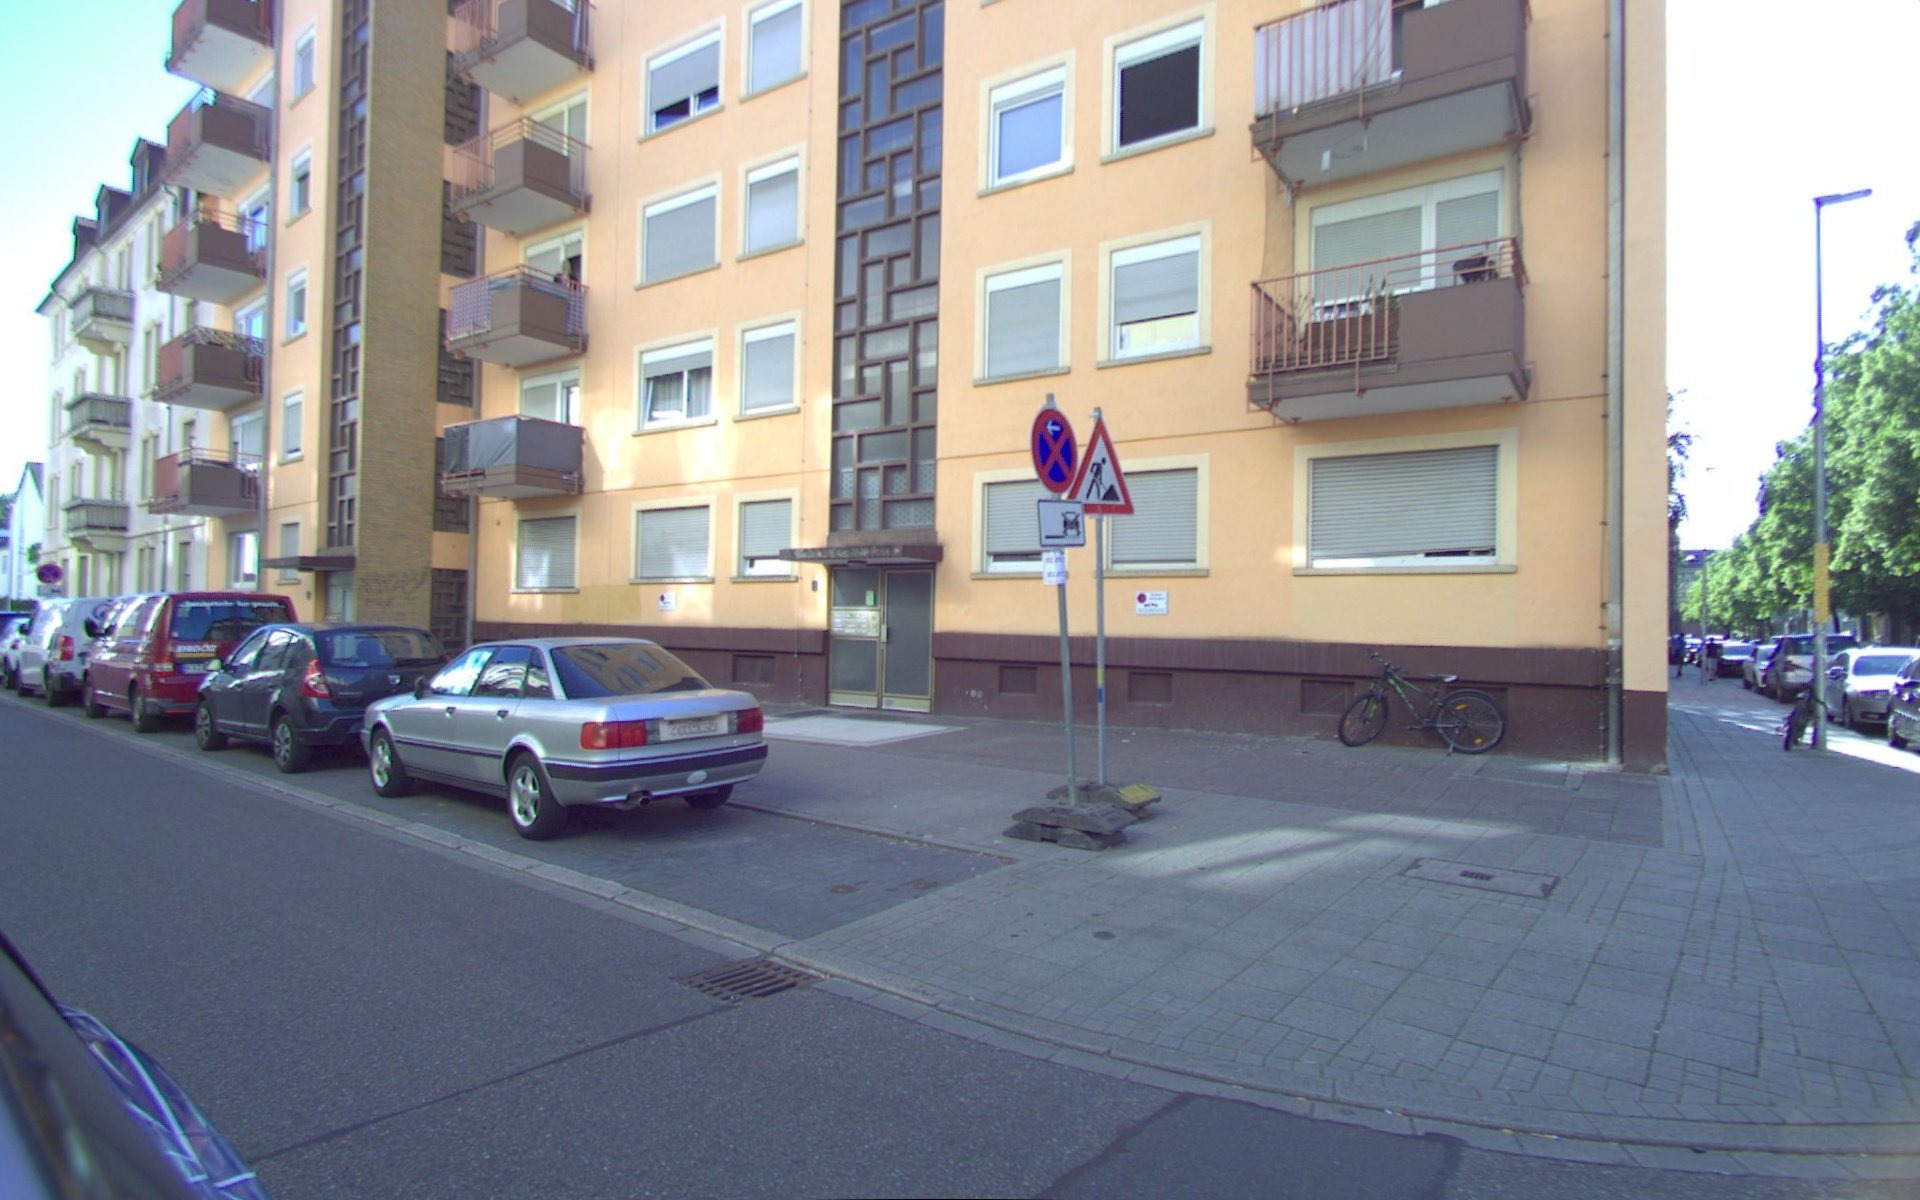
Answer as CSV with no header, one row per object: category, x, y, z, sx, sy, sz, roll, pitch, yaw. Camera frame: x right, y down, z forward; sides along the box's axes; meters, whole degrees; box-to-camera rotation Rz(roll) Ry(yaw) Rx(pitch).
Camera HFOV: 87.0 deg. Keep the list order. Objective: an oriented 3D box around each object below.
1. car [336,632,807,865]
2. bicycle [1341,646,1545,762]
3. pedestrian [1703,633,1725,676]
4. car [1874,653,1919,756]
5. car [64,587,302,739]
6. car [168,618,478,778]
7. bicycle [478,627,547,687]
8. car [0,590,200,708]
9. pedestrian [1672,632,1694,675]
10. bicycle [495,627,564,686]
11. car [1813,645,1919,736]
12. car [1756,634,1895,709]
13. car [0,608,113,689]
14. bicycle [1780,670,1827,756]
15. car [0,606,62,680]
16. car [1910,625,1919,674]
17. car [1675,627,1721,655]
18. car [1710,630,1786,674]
car,-3.429,0.998,8.465,4.475,1.388,1.745,-1,-1,40
bicycle,5.063,1.057,10.682,1.889,1.072,0.499,-1,0,36
pedestrian,29.397,2.114,39.449,0.660,1.653,0.520,-1,-2,35
car,13.506,1.389,13.114,1.722,1.320,4.165,-1,-2,32
car,-11.763,0.837,15.196,4.930,1.940,1.745,-1,-1,39
car,-7.376,0.989,11.597,3.995,1.514,1.745,-1,-3,38
bicycle,-8.786,1.096,19.827,1.758,1.122,0.338,-1,-2,34
car,-16.249,0.840,19.007,5.304,1.940,1.956,-1,-1,39
pedestrian,28.505,2.111,39.901,0.660,1.653,0.520,-1,-2,35
bicycle,-8.584,1.102,20.154,1.758,1.122,0.338,-1,-2,34
car,16.489,1.517,17.764,1.722,1.415,4.165,-1,-2,32
car,22.722,1.806,26.761,2.102,1.780,4.461,-1,-2,32
car,-20.545,1.020,22.584,4.290,1.633,1.745,-1,-1,39
bicycle,10.706,1.396,12.836,0.399,0.973,1.672,3,0,40
car,-24.423,1.051,25.693,4.290,1.784,1.745,-1,-1,39
car,34.593,1.665,33.896,3.586,1.680,1.691,-1,-2,23
car,48.150,2.662,66.102,2.102,1.780,4.461,-1,-2,32
car,34.021,2.204,43.786,2.102,1.780,4.461,-1,-2,32
